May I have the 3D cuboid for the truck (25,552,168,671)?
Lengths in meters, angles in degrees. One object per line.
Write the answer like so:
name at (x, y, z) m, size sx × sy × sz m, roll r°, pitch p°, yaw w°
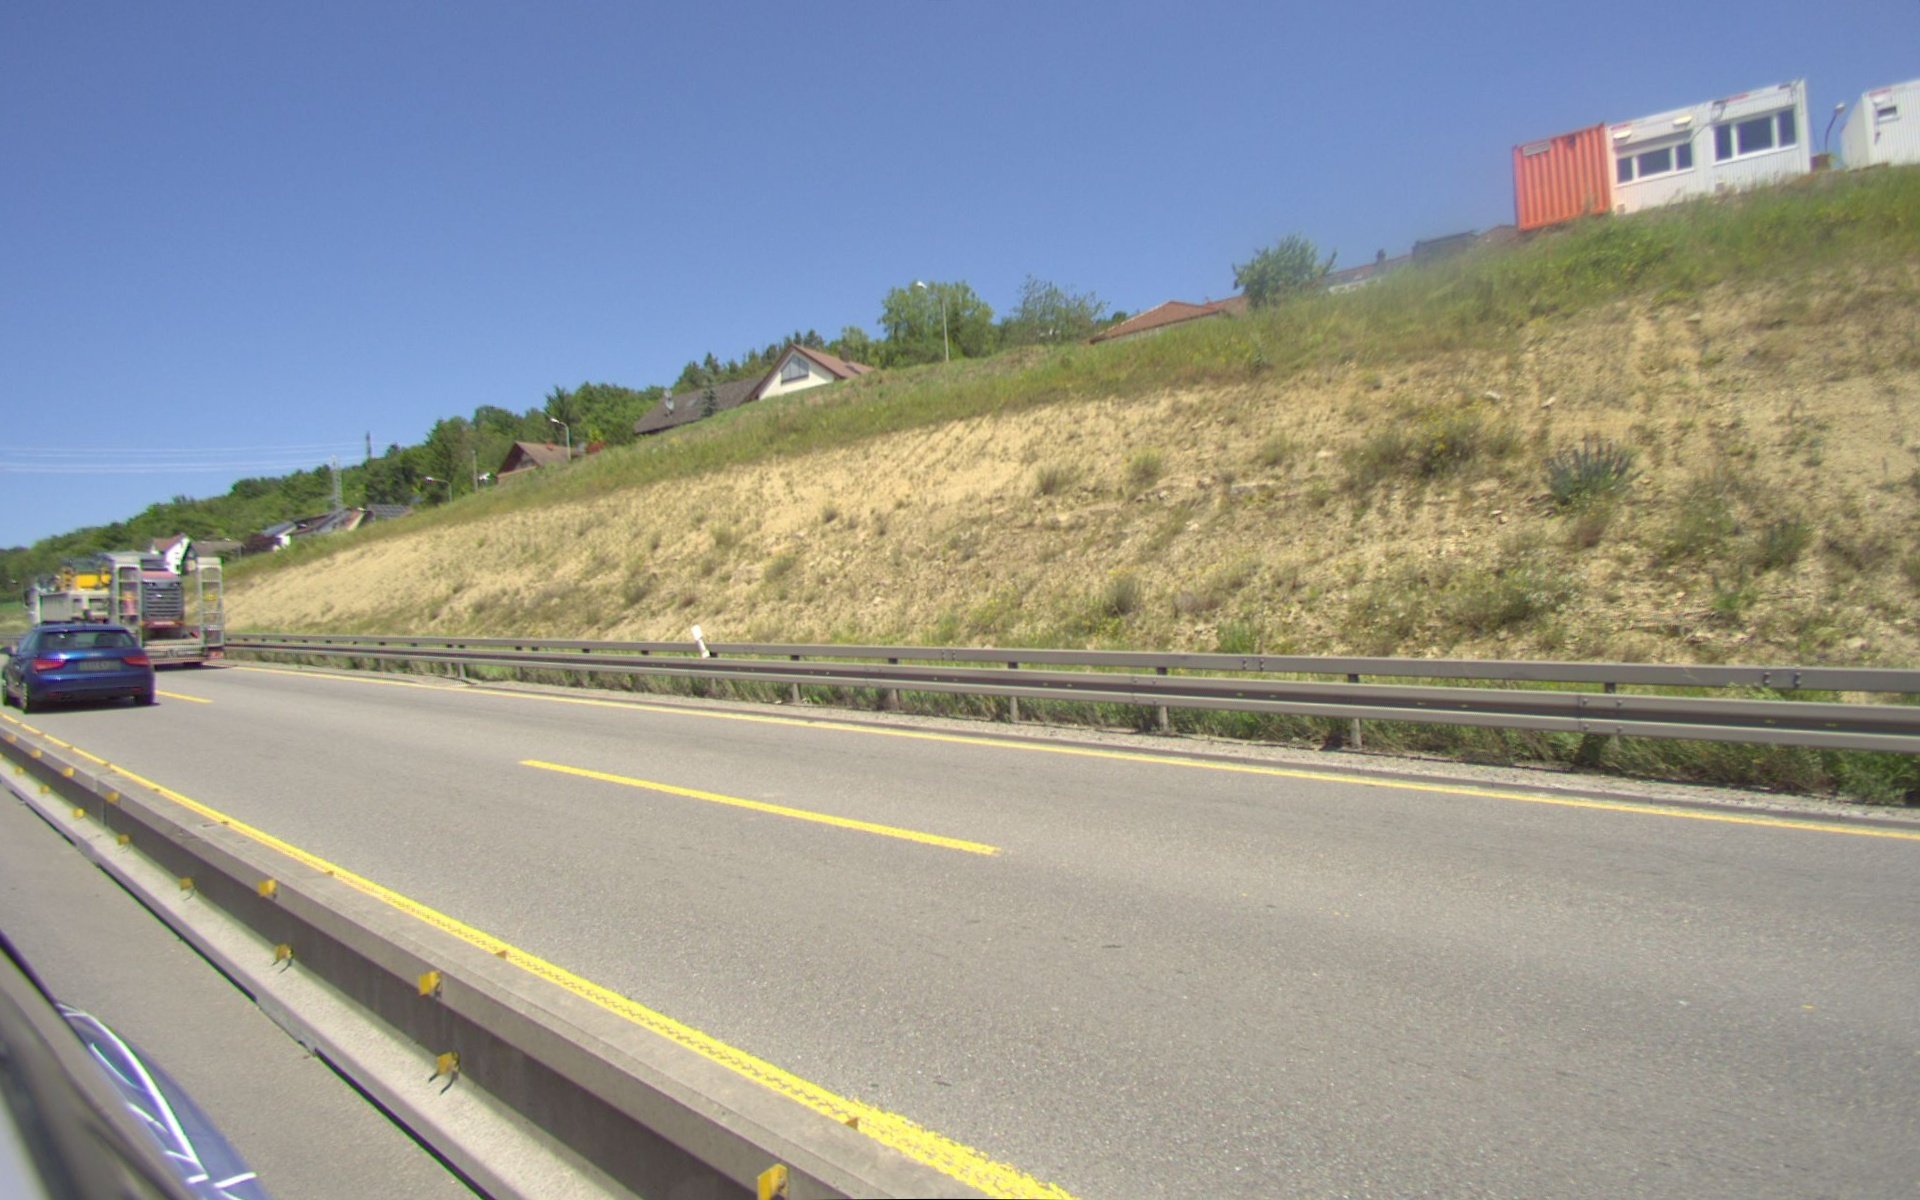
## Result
truck at (-30.836, 0.455, 35.966) m, size 9.328 × 3.751 × 2.560 m, roll -2°, pitch -1°, yaw 41°

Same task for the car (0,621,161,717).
car at (-15.293, 1.122, 17.435) m, size 3.847 × 1.441 × 1.667 m, roll -2°, pitch -1°, yaw 40°

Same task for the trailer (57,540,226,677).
trailer at (-25.333, 0.313, 31.111) m, size 9.074 × 3.664 × 2.560 m, roll -2°, pitch -1°, yaw 41°
